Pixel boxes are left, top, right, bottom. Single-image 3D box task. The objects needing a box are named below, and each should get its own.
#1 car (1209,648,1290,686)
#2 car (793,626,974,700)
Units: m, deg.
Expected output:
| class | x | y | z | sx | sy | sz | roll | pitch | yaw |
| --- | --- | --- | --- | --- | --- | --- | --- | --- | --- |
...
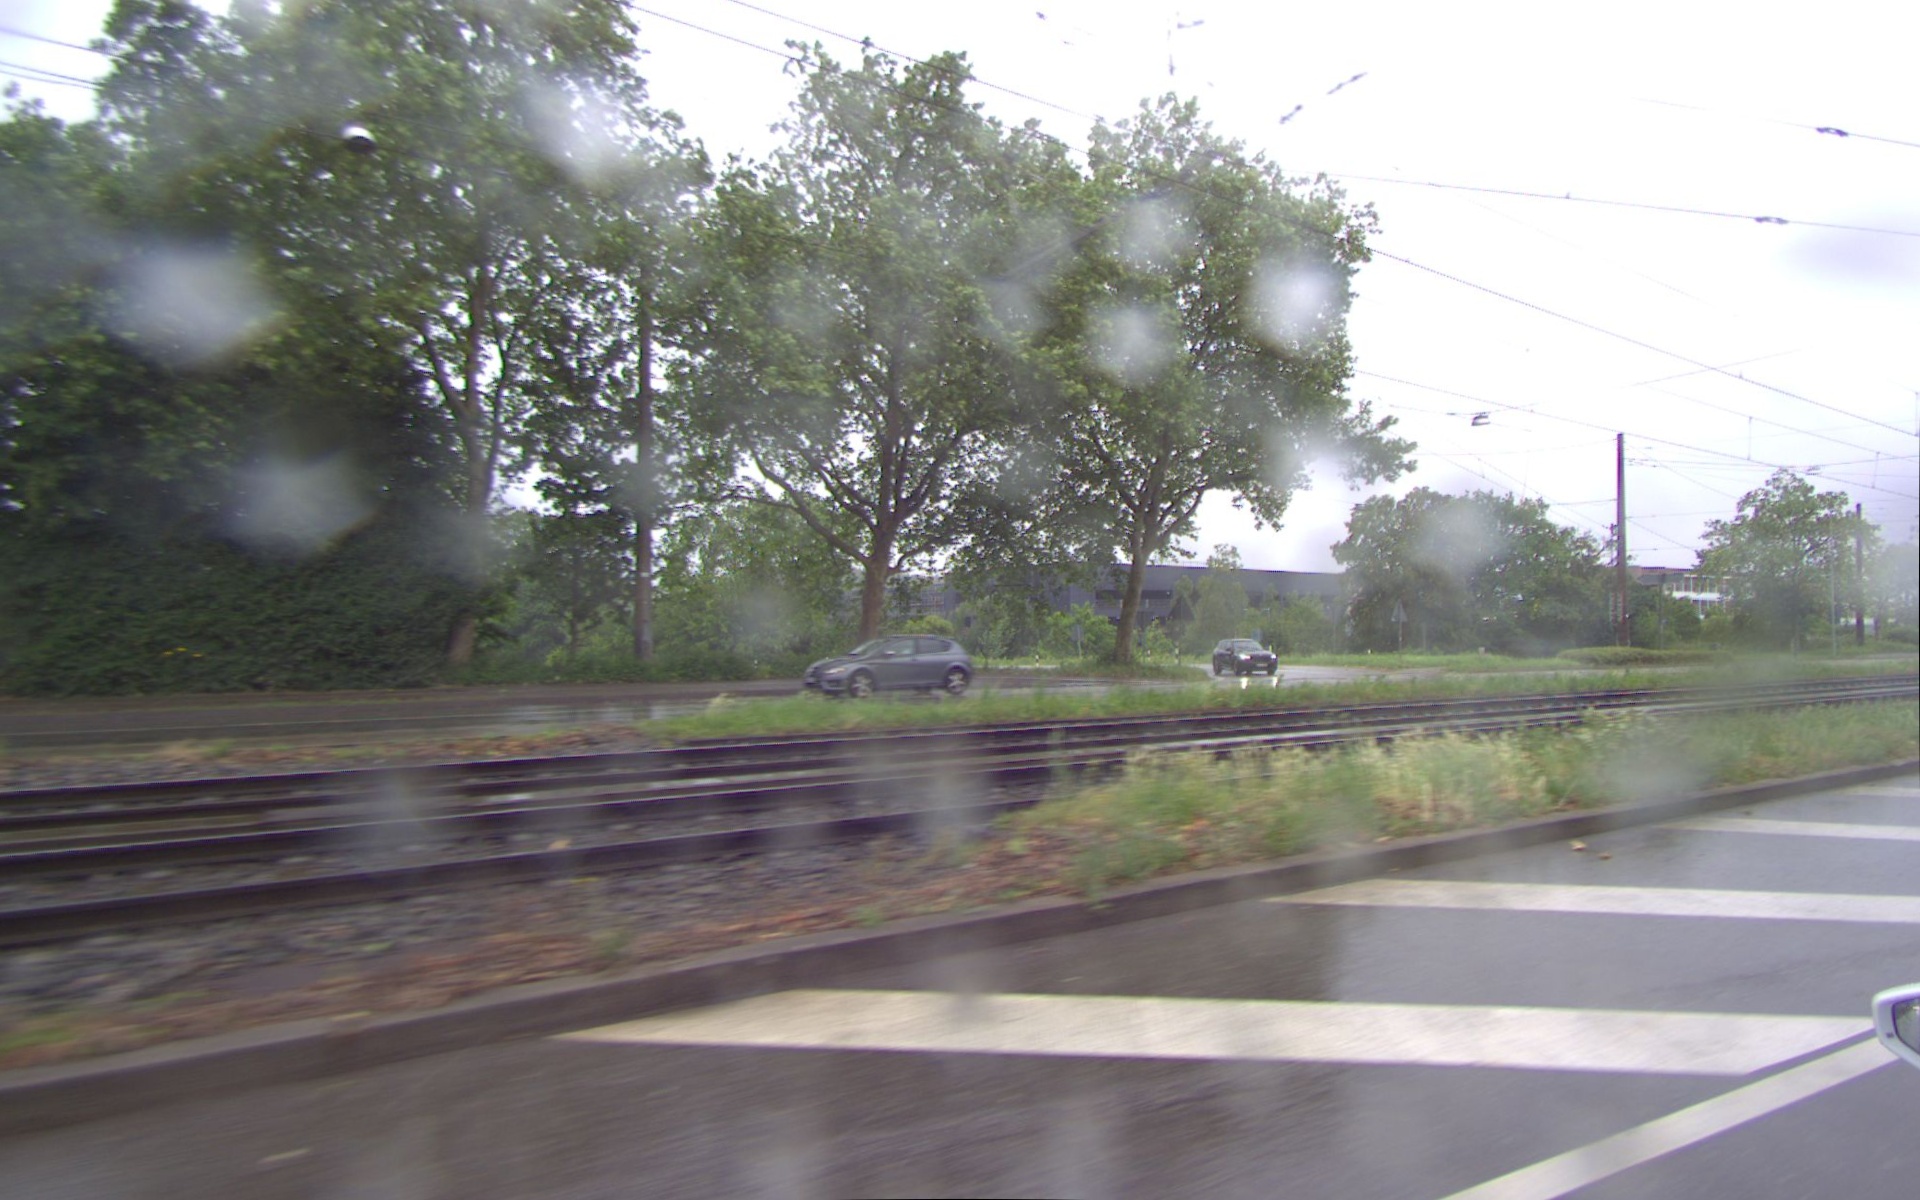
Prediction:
| class | x | y | z | sx | sy | sz | roll | pitch | yaw |
| --- | --- | --- | --- | --- | --- | --- | --- | --- | --- |
| car | 13.150 | 3.029 | 45.972 | 2.177 | 1.548 | 4.276 | 1 | -1 | -5 |
| car | -1.776 | 1.449 | 23.827 | 4.004 | 1.589 | 1.641 | 2 | -1 | -33 |
